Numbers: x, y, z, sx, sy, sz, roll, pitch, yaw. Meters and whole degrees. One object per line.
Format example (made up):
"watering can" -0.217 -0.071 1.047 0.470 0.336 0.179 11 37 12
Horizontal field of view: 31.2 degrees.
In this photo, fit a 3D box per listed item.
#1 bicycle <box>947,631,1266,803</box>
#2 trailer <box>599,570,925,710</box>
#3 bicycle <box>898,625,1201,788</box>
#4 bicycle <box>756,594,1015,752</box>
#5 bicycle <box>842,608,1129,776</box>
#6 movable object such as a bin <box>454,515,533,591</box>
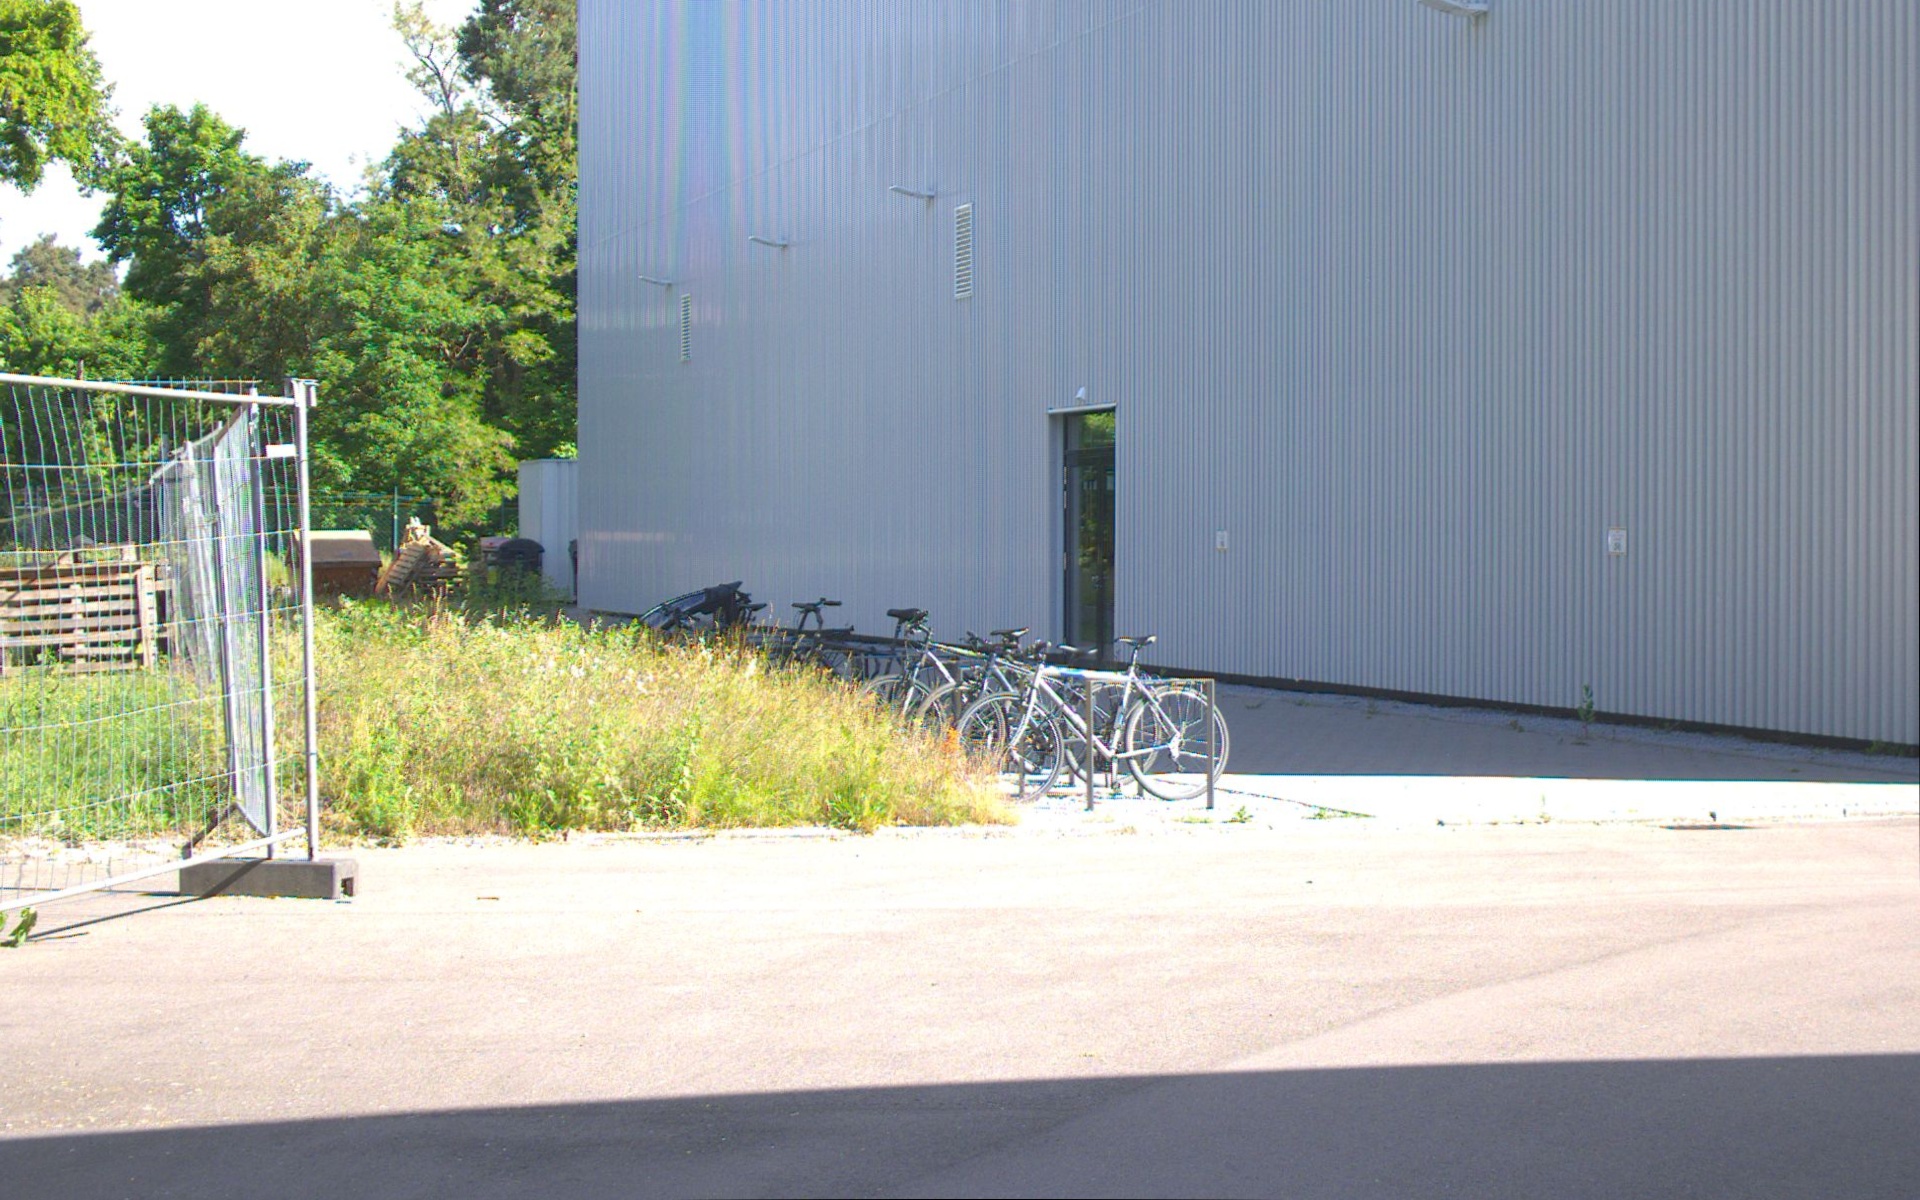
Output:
"bicycle" 0.885 0.691 20.666 1.883 0.974 0.433 -1 1 -18
"trailer" -1.801 0.345 31.098 2.710 1.195 1.246 -1 1 -18
"bicycle" 0.571 0.661 21.776 1.883 0.974 0.433 -1 1 -18
"bicycle" -0.551 0.532 25.592 1.883 1.122 0.433 -1 1 -18
"bicycle" 0.176 0.607 23.083 1.883 1.078 0.433 -1 1 -18
"movable object such as a bin" -10.294 -1.046 75.818 1.363 1.650 2.843 -1 1 -15
